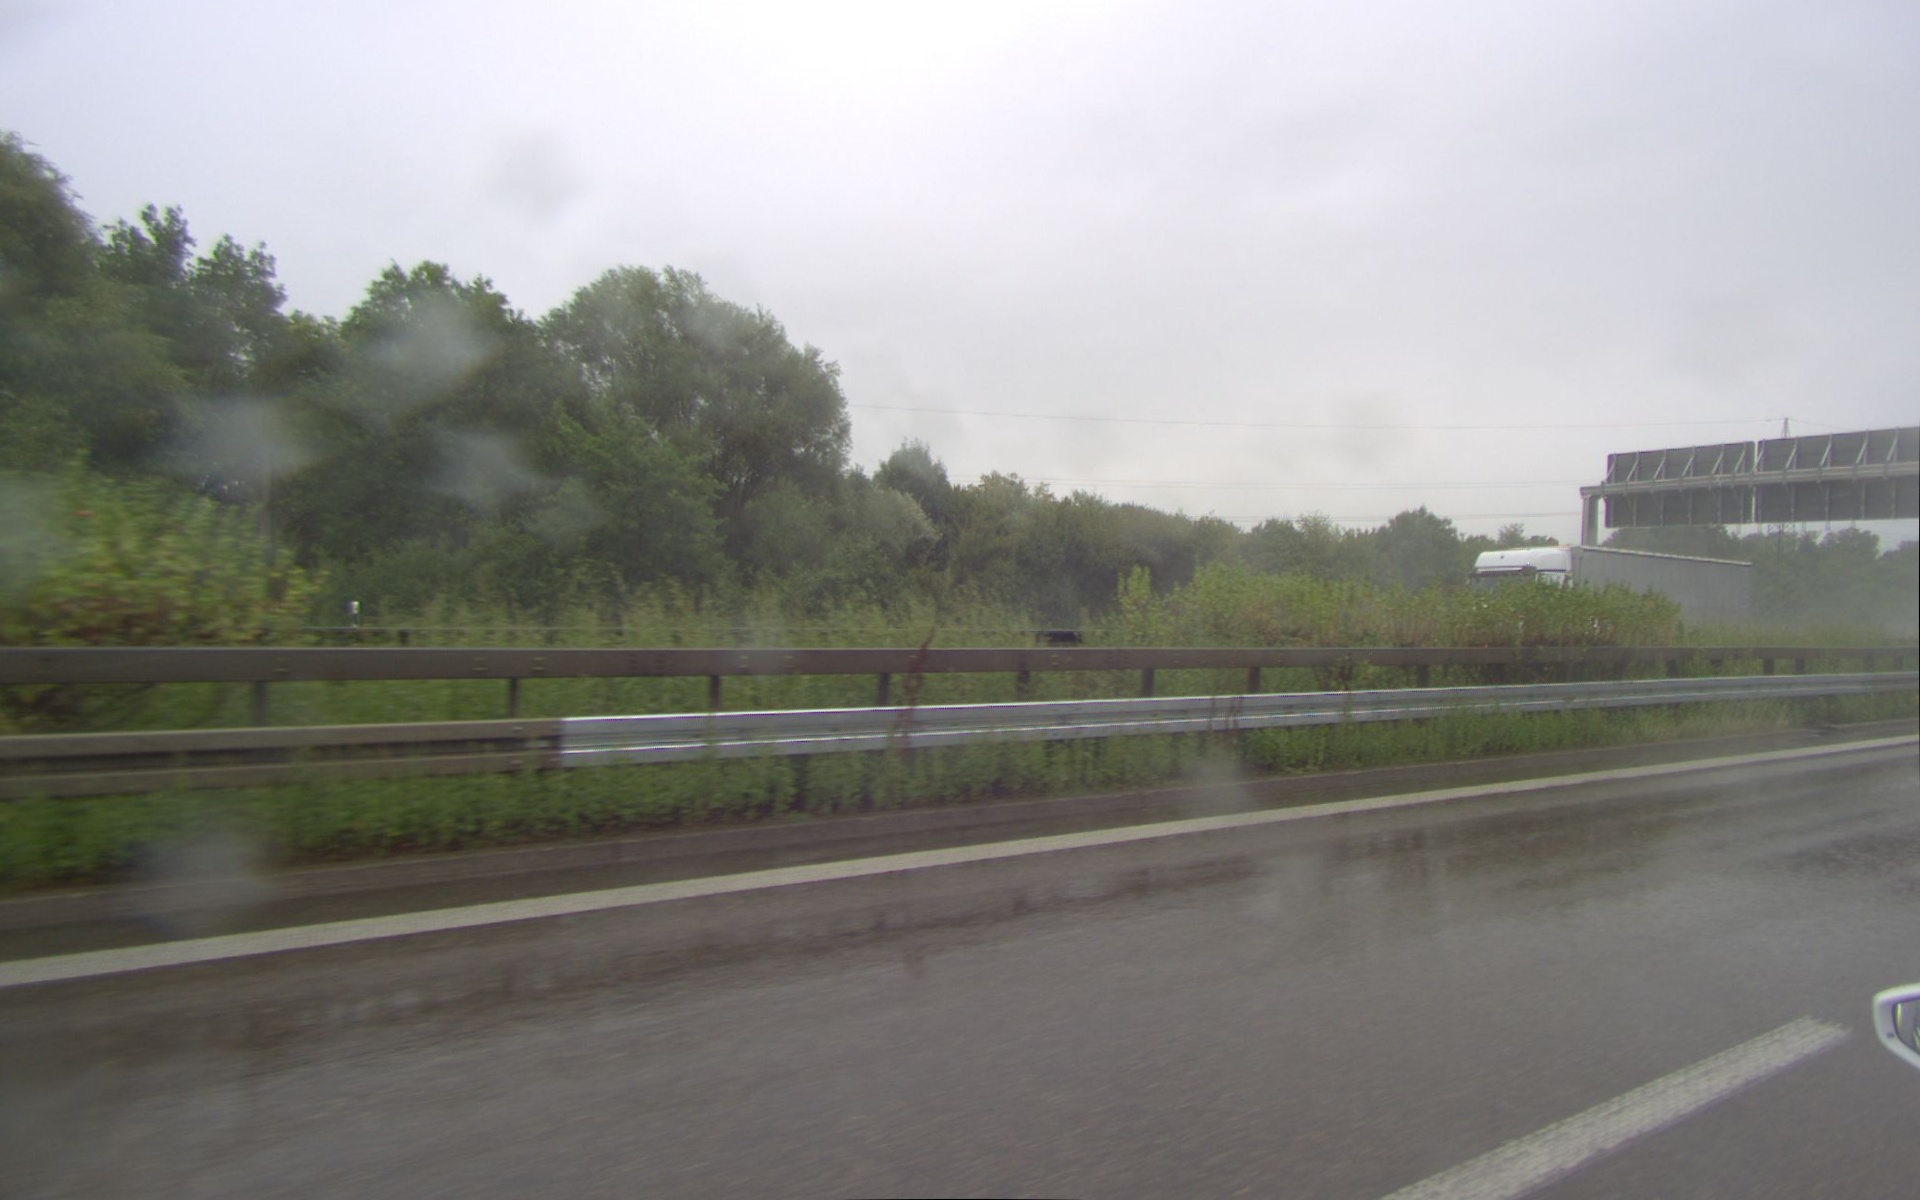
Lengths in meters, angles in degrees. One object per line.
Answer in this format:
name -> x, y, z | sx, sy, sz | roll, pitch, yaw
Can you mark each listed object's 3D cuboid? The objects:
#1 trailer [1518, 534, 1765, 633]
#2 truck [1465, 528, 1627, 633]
trailer -> 27.141, -0.550, 39.603 | 13.293, 3.454, 2.659 | 1, 2, -31
truck -> 20.957, -0.649, 35.887 | 5.464, 3.463, 2.653 | 1, 2, -31
